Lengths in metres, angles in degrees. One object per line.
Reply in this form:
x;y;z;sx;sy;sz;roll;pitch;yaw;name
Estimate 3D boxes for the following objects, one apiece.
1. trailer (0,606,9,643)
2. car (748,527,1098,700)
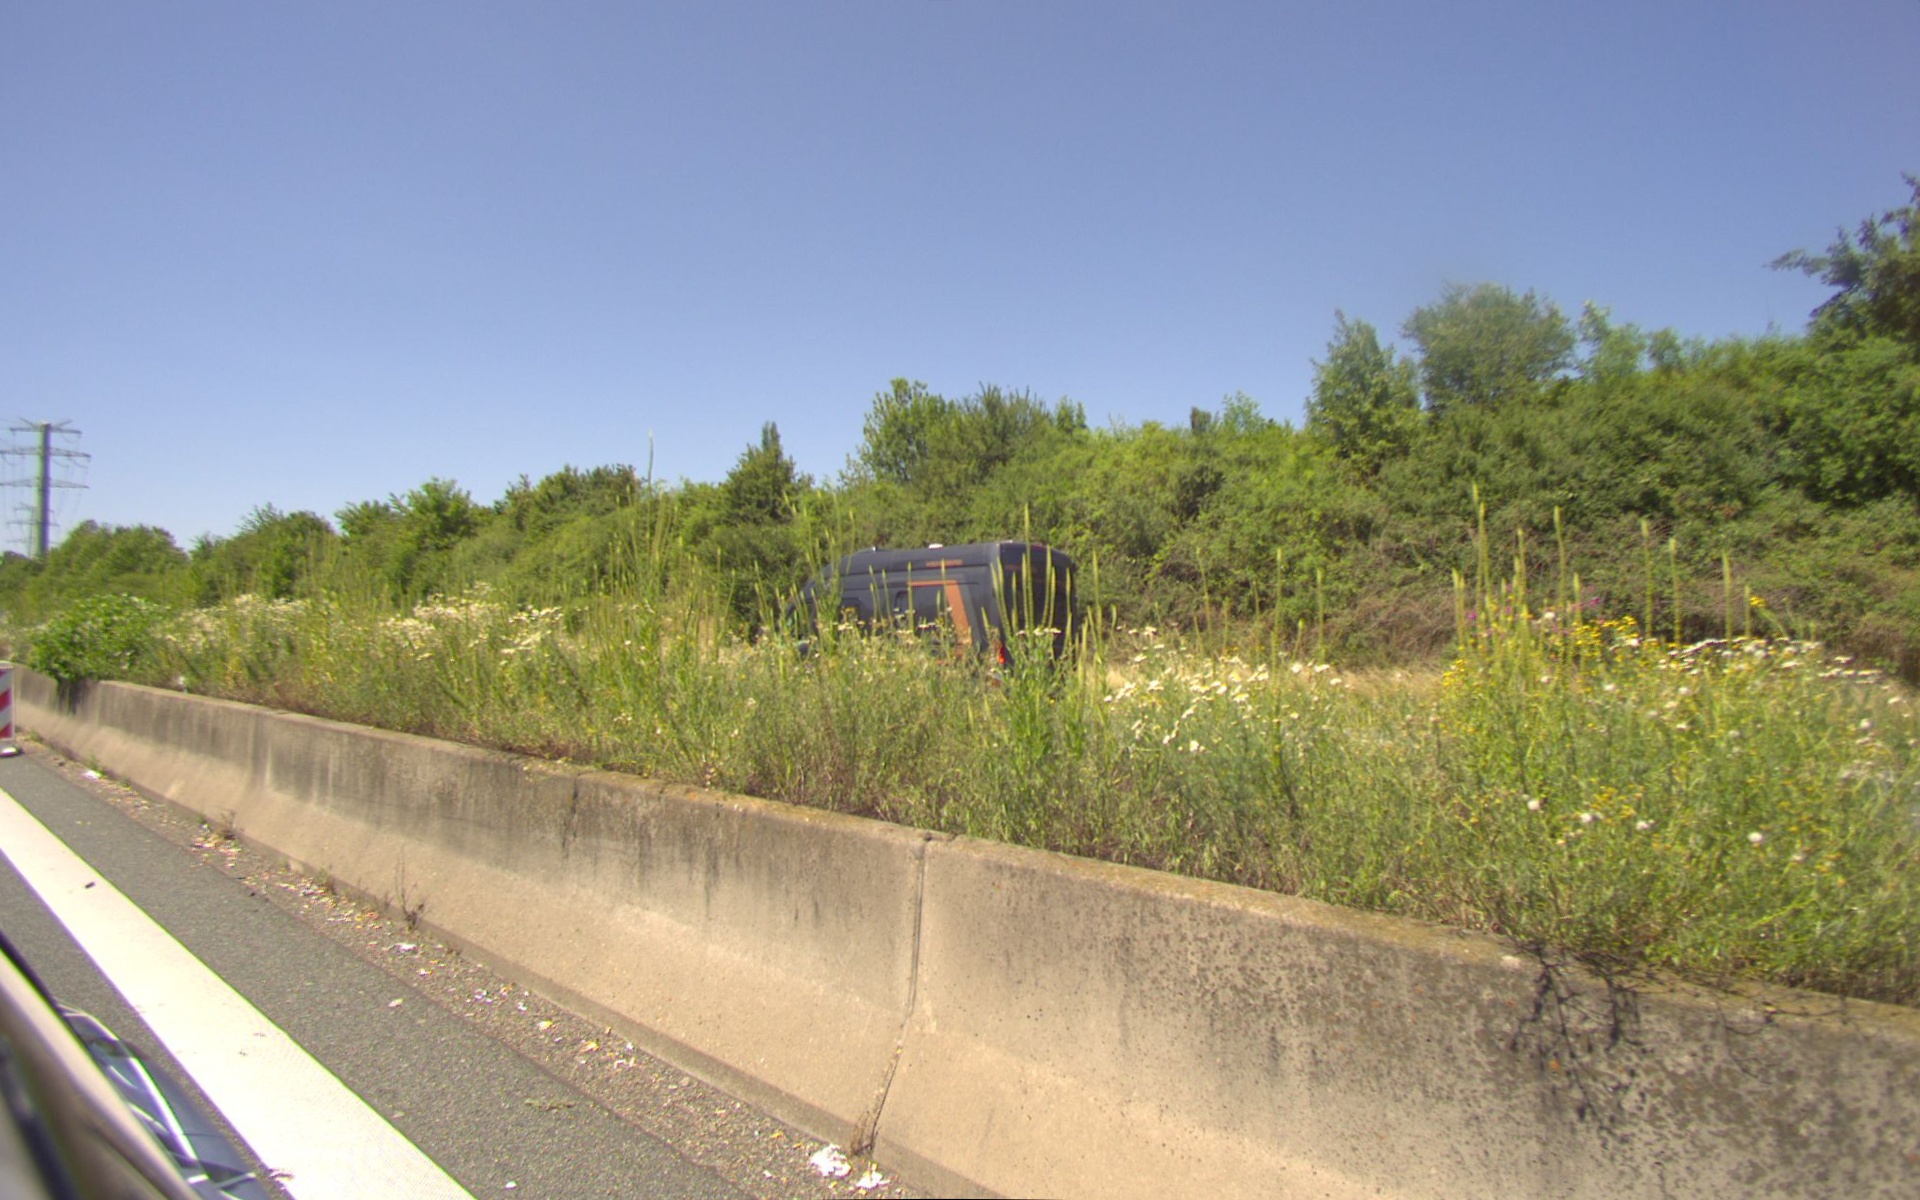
-115.090;2.815;119.049;14.012;4.199;2.985;-1;-5;41;trailer
-0.707;0.231;14.860;5.226;2.107;1.973;-1;-2;41;car
